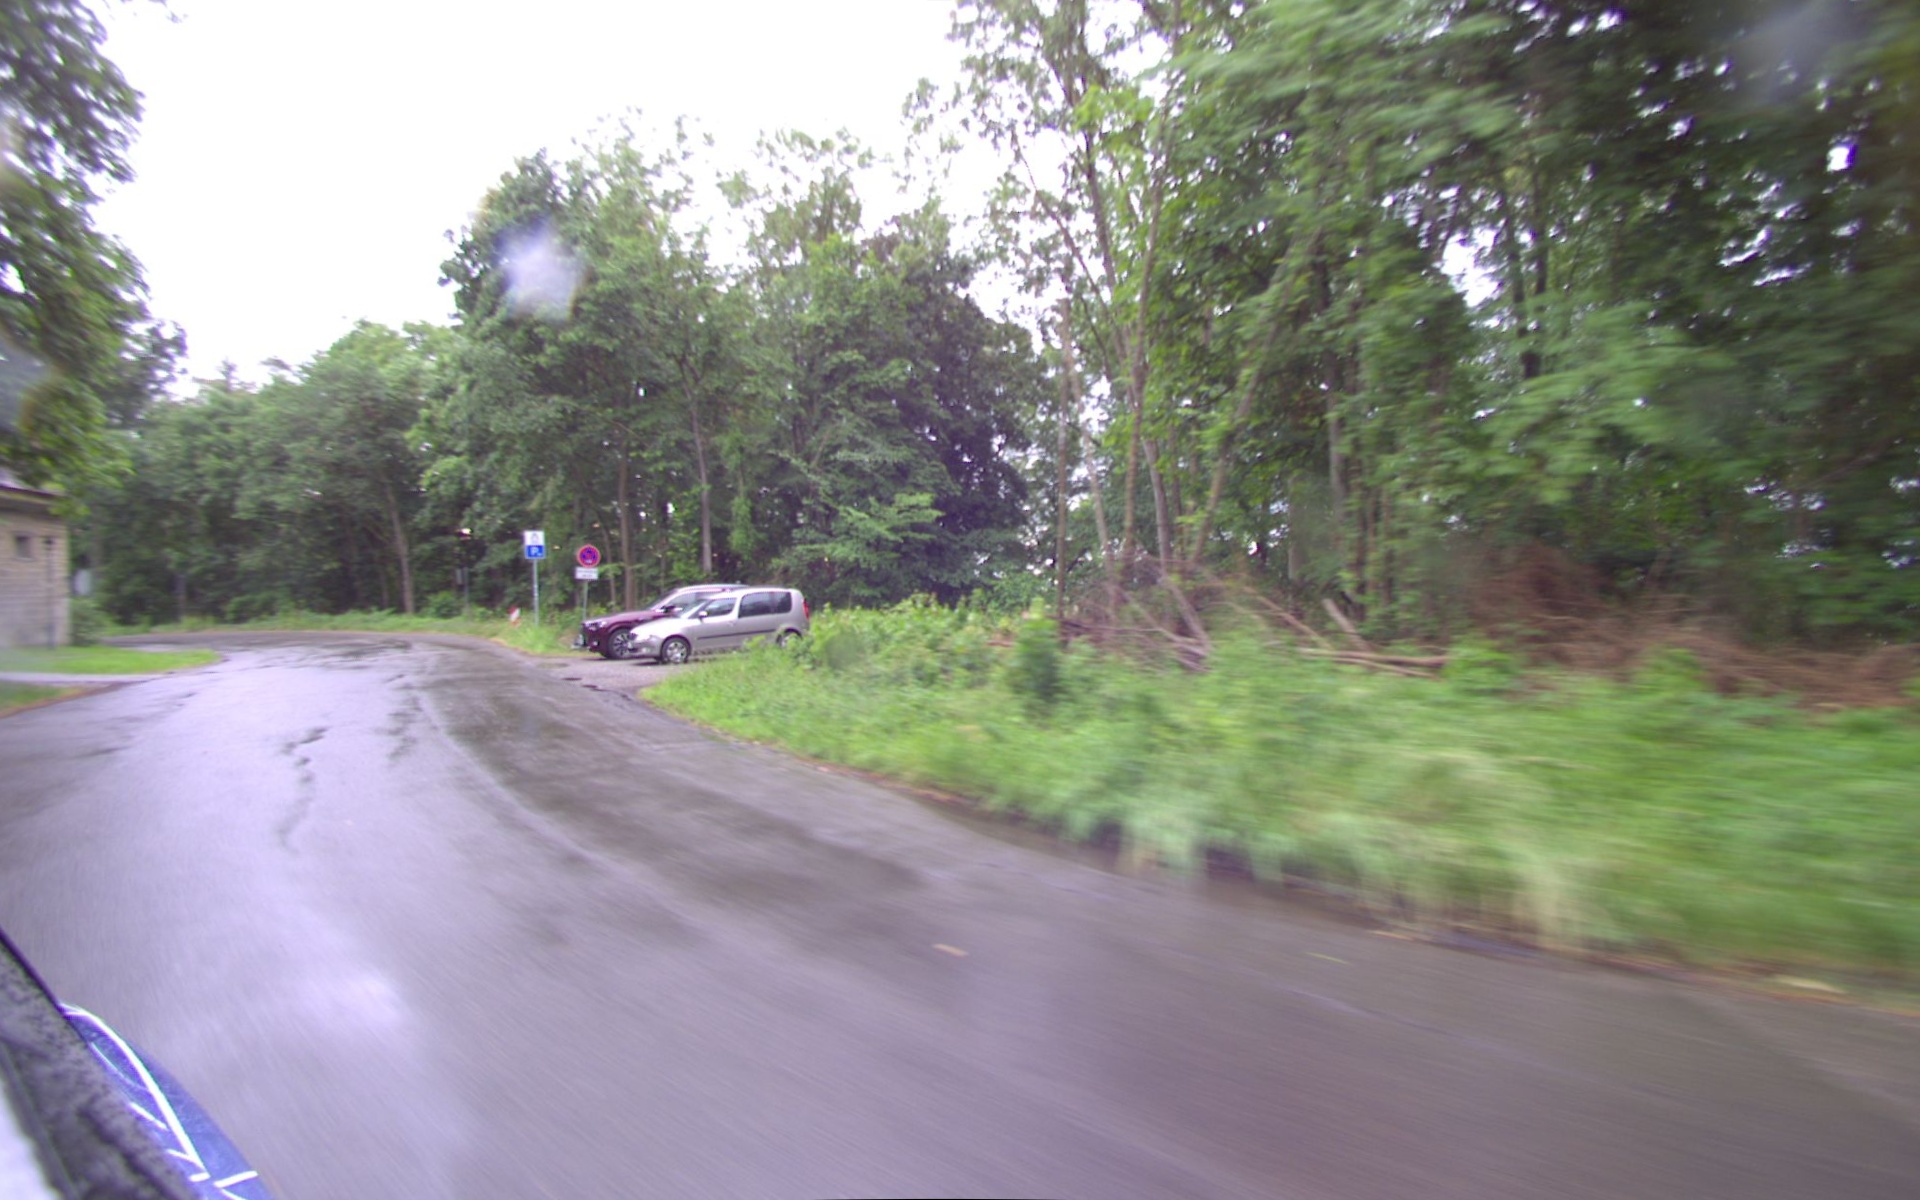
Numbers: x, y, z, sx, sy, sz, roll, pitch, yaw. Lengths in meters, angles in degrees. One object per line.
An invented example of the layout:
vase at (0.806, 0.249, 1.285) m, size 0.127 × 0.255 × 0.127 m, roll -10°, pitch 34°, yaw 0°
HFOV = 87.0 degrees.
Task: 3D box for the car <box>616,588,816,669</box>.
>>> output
car at (-5.561, 0.596, 23.087) m, size 4.078 × 1.566 × 1.779 m, roll -3°, pitch 0°, yaw -27°

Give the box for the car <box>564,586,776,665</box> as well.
car at (-7.268, 0.593, 25.474) m, size 4.758 × 1.690 × 1.882 m, roll -3°, pitch 0°, yaw -29°
